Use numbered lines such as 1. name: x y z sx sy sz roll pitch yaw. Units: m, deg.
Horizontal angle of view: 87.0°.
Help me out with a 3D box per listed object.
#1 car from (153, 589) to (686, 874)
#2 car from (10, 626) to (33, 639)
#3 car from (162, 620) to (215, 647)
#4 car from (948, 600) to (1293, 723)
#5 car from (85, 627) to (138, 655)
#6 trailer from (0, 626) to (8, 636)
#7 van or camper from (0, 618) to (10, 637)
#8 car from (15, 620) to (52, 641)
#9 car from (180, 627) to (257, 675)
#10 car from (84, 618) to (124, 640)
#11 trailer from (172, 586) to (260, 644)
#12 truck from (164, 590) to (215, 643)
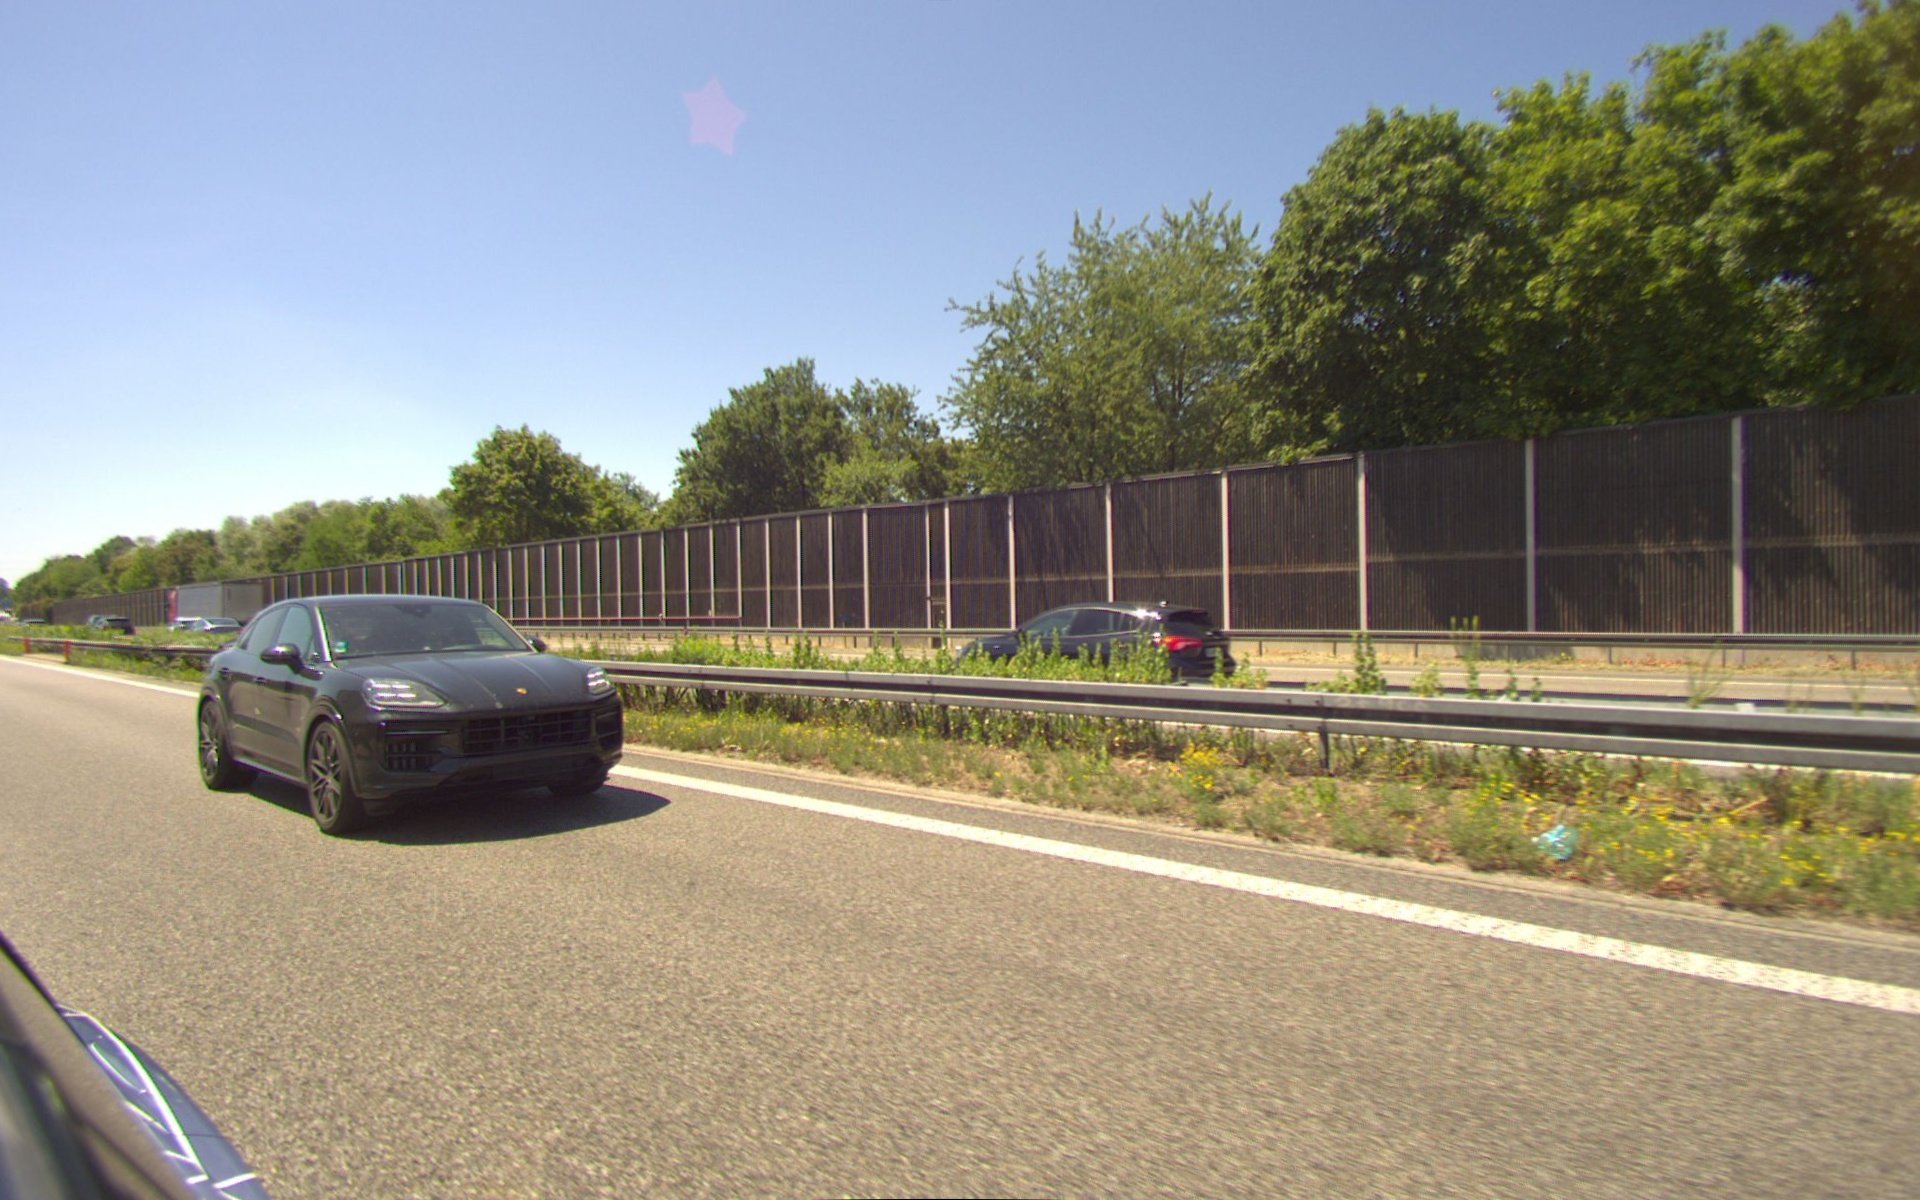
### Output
1. car: -4.842 0.815 8.509 5.768 1.637 2.022 -2 -1 41
2. car: -122.689 4.243 132.301 3.999 1.612 1.794 -2 -1 42
3. car: -51.572 2.215 67.645 4.530 1.733 1.973 -1 -1 41
4. car: 2.141 0.775 14.257 4.456 1.457 1.937 -1 -1 41
5. car: -55.005 2.625 65.599 4.530 1.733 1.973 -1 -1 41
6. trailer: -153.187 4.906 161.214 3.090 1.590 1.709 -2 -9 41
7. van or camper: -157.067 4.416 164.690 7.371 2.936 2.531 -2 -9 41
8. car: -81.417 2.686 88.909 4.243 1.733 1.973 -1 -1 41
9. car: -34.502 2.325 47.061 3.998 1.962 1.973 -2 2 41
10. car: -75.882 2.543 89.672 5.217 1.829 1.973 -1 -1 41
11. trailer: -56.888 1.198 77.133 14.264 4.118 2.470 -1 -1 41
12. truck: -62.504 1.348 82.095 4.675 4.118 2.461 -1 -1 41
